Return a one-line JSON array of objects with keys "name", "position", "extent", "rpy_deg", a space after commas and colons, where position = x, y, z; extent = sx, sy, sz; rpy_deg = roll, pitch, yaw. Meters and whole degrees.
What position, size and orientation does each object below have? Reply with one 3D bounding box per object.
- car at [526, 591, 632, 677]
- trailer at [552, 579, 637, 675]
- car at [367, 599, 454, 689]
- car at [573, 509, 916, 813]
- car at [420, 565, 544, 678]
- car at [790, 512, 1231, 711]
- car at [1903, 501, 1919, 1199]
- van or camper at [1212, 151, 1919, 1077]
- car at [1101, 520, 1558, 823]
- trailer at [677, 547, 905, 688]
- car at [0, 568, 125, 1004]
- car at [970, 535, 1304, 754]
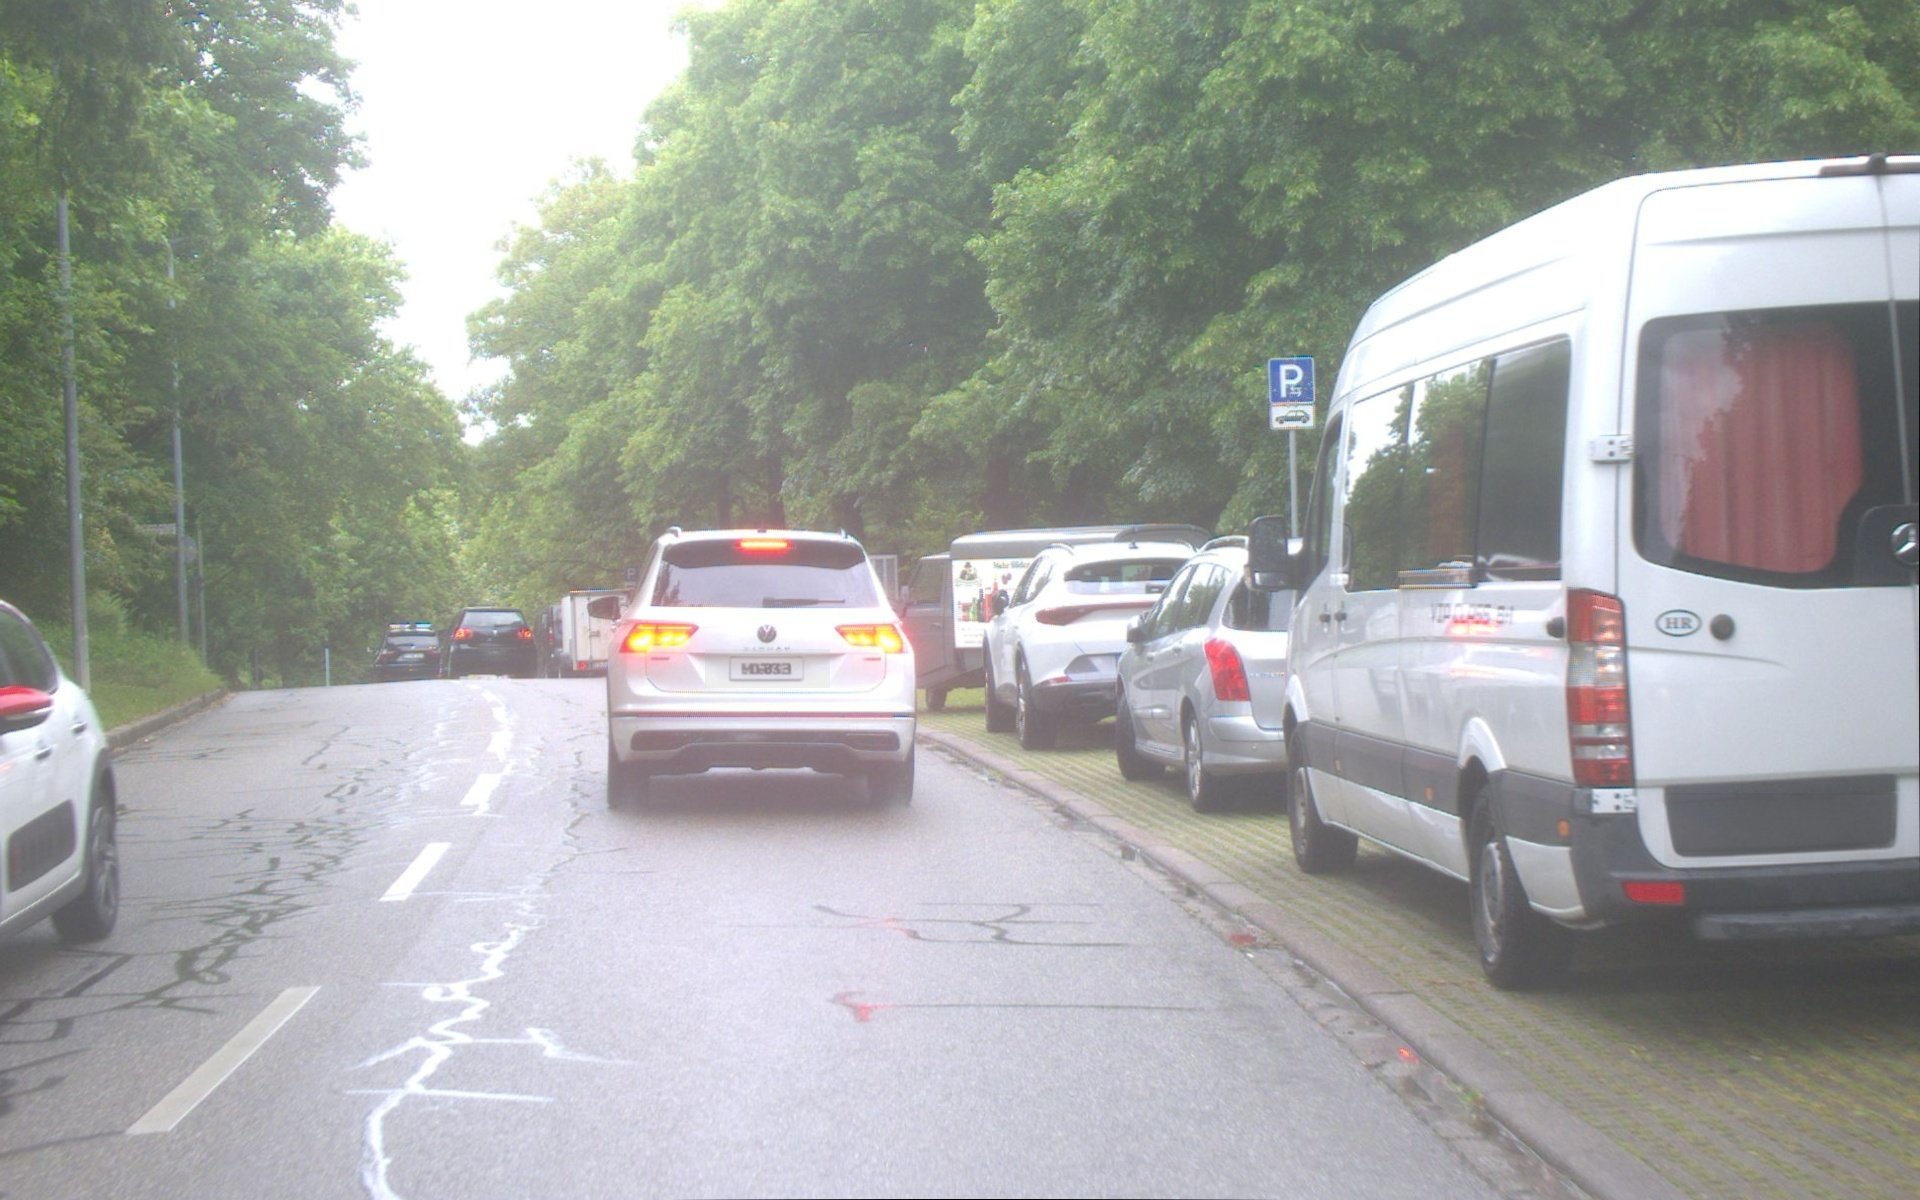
[{"name": "car", "position": [-9.506, 0.870, 85.410], "extent": [1.993, 1.903, 5.510], "rpy_deg": [-2, -2, -13]}, {"name": "trailer", "position": [-8.605, 0.653, 80.732], "extent": [1.529, 2.069, 4.000], "rpy_deg": [-3, -1, -11]}, {"name": "car", "position": [-13.903, 1.078, 86.891], "extent": [1.993, 2.006, 4.002], "rpy_deg": [-2, 3, -11]}, {"name": "car", "position": [-1.257, 0.331, 21.507], "extent": [1.905, 1.679, 4.201], "rpy_deg": [-1, 0, -1]}, {"name": "car", "position": [-9.641, 0.396, 69.129], "extent": [1.993, 2.006, 4.002], "rpy_deg": [-2, 3, -14]}, {"name": "car", "position": [0.428, 0.133, 32.256], "extent": [4.003, 1.675, 1.608], "rpy_deg": [-3, 0, 42]}, {"name": "car", "position": [3.026, 0.570, 5.478], "extent": [1.865, 1.506, 3.725], "rpy_deg": [-2, 2, -2]}, {"name": "van or camper", "position": [2.536, -0.125, 14.008], "extent": [2.016, 2.574, 8.437], "rpy_deg": [-3, 2, -2]}, {"name": "car", "position": [2.072, 0.340, 20.532], "extent": [1.805, 1.533, 4.268], "rpy_deg": [-3, 1, -6]}, {"name": "trailer", "position": [-2.518, 0.278, 49.448], "extent": [2.449, 1.806, 5.893], "rpy_deg": [-2, -1, -10]}, {"name": "car", "position": [-4.240, 0.697, 12.485], "extent": [1.665, 1.472, 3.733], "rpy_deg": [-4, 2, -4]}, {"name": "car", "position": [1.284, 0.274, 27.005], "extent": [1.993, 1.492, 4.567], "rpy_deg": [-2, 1, -5]}]
